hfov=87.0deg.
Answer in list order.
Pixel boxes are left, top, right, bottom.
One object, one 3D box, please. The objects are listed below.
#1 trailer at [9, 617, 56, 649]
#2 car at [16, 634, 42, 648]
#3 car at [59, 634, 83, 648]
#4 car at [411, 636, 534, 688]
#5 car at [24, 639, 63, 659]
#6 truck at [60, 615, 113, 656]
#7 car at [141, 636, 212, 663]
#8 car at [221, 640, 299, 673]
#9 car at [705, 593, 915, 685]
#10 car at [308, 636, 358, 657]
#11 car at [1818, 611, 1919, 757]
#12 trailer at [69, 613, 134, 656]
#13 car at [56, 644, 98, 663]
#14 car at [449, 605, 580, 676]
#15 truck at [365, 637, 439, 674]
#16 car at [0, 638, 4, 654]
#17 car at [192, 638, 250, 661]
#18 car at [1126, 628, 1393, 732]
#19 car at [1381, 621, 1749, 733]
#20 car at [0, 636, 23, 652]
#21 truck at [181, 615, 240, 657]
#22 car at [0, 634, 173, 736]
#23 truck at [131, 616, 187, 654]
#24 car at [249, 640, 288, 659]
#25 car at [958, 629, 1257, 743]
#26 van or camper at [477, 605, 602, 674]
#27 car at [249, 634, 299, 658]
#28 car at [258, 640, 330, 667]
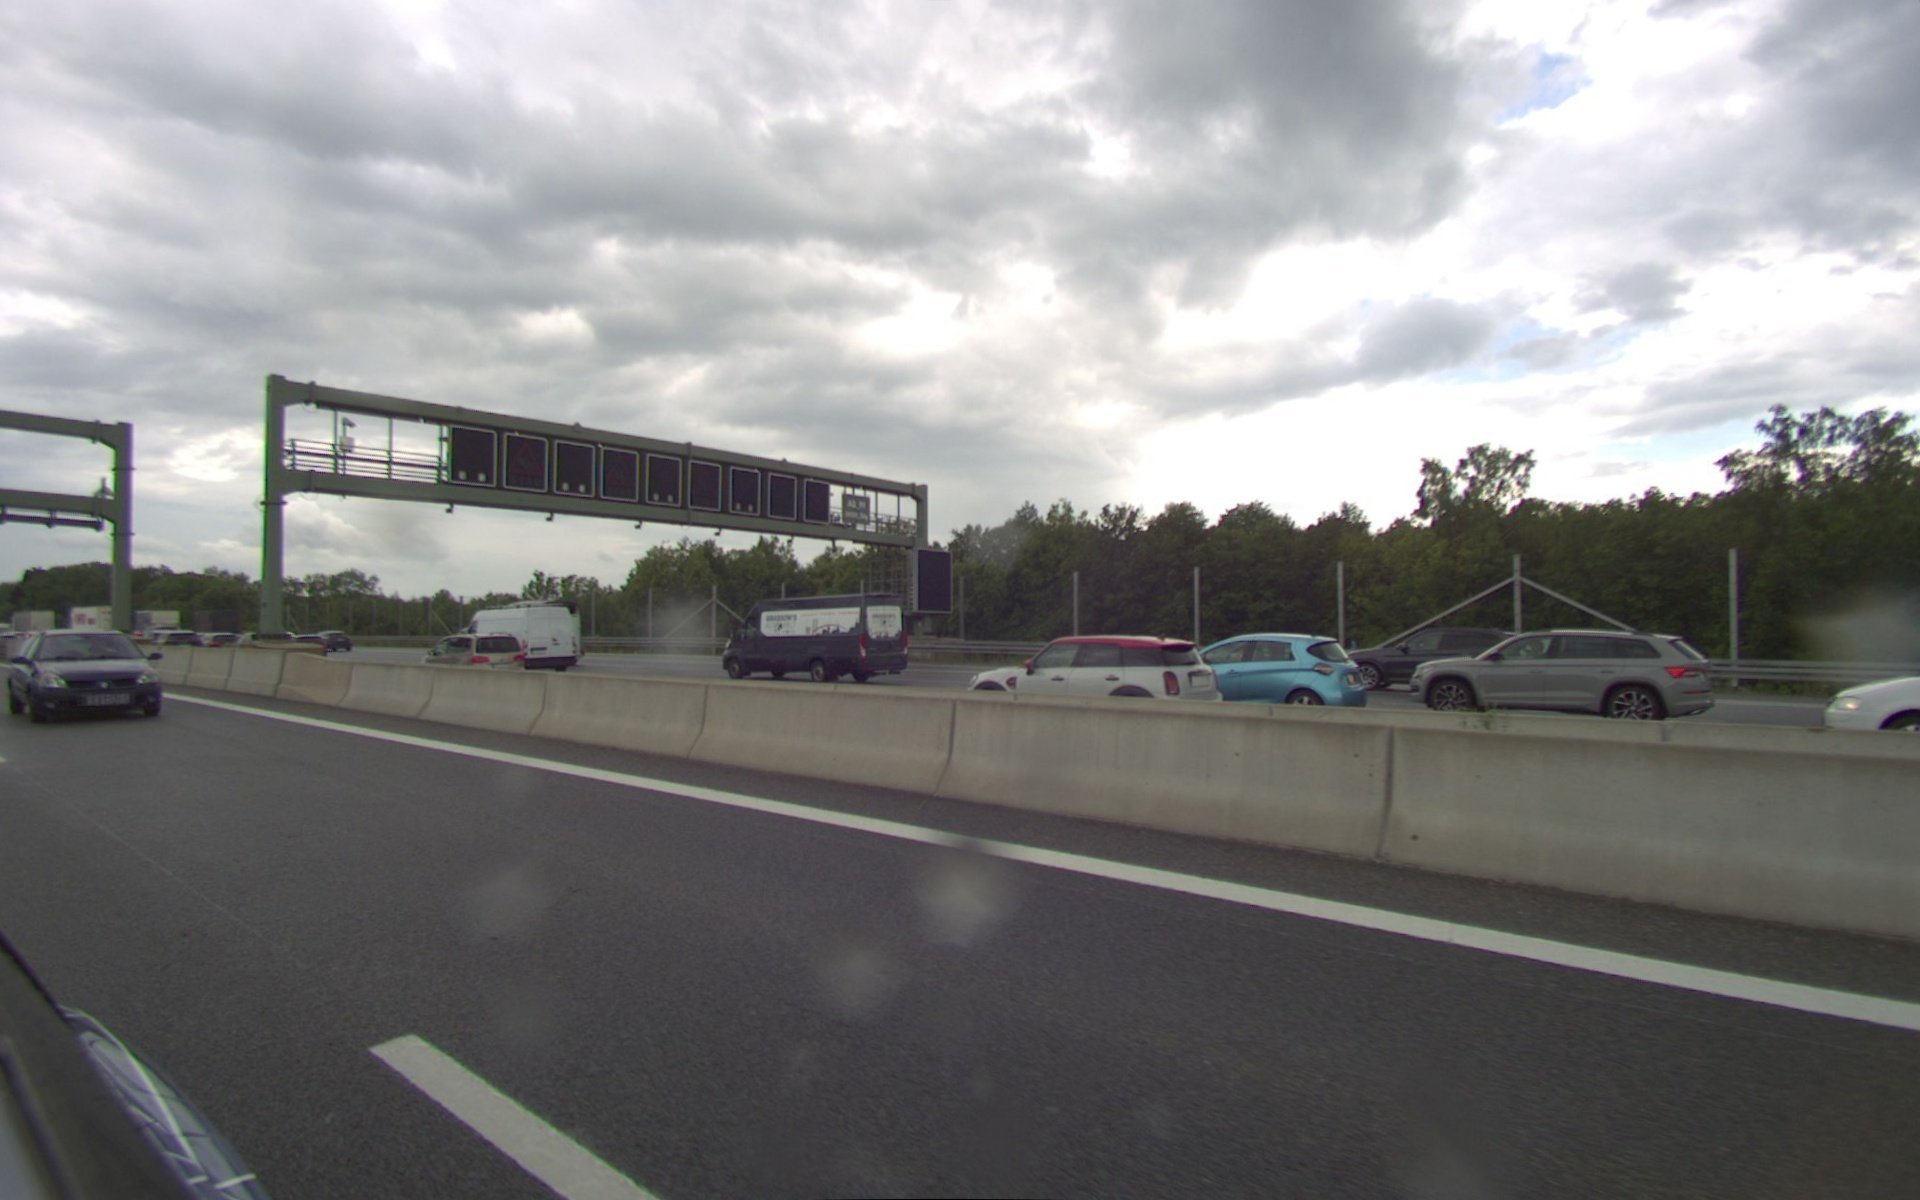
[{"bbox_3d":[-122.604,4.385,133.695,13.007,3.963,3.210,-2,-1,41],"label":"trailer"},{"bbox_3d":[-104.048,4.606,113.107,4.674,1.514,1.628,-2,-2,41],"label":"car"},{"bbox_3d":[-103.937,4.794,118.272,3.998,1.557,1.628,-3,-3,41],"label":"car"},{"bbox_3d":[-14.960,1.853,30.963,4.390,1.449,1.740,-2,-2,40],"label":"car"},{"bbox_3d":[-78.537,4.213,86.722,4.718,1.660,1.853,-3,-3,40],"label":"car"},{"bbox_3d":[-94.408,3.870,109.337,7.731,4.226,3.145,-3,-3,40],"label":"truck"},{"bbox_3d":[-42.913,2.707,55.403,5.252,1.368,2.058,-3,-3,40],"label":"car"},{"bbox_3d":[-31.729,2.548,45.830,4.500,1.402,1.686,-3,-3,39],"label":"car"},{"bbox_3d":[-4.856,1.250,31.682,7.352,2.566,2.248,-3,-3,40],"label":"car"},{"bbox_3d":[-44.771,3.311,72.240,4.338,1.437,1.744,-3,-3,40],"label":"car"},{"bbox_3d":[12.815,0.930,11.359,4.793,1.680,1.694,-2,-2,41],"label":"car"},{"bbox_3d":[-88.747,3.661,104.538,11.947,4.226,3.154,-3,-3,40],"label":"trailer"},{"bbox_3d":[-62.852,3.791,72.009,4.184,1.299,1.686,-3,-3,40],"label":"car"},{"bbox_3d":[-17.072,1.581,38.592,6.060,2.507,2.180,-3,-3,40],"label":"car"},{"bbox_3d":[-27.944,2.763,50.641,3.997,1.760,1.973,-2,-2,40],"label":"truck"},{"bbox_3d":[-127.408,6.079,133.168,5.671,2.068,1.802,-2,-3,41],"label":"car"},{"bbox_3d":[-45.772,3.072,62.647,4.560,1.350,1.870,-3,-3,40],"label":"car"},{"bbox_3d":[5.339,1.376,18.390,4.278,1.634,1.783,-2,-2,41],"label":"car"},{"bbox_3d":[10.432,1.264,17.798,5.314,1.680,1.694,-2,-2,41],"label":"car"},{"bbox_3d":[-89.054,4.086,94.622,4.727,1.451,1.628,-2,-2,41],"label":"car"},{"bbox_3d":[-66.338,3.263,89.524,7.801,3.564,2.438,-3,-3,40],"label":"truck"},{"bbox_3d":[-14.683,1.324,16.759,5.015,1.418,1.758,-3,-2,42],"label":"car"},{"bbox_3d":[-86.237,3.860,108.862,10.750,3.870,2.868,-3,-3,41],"label":"truck"},{"bbox_3d":[-55.396,3.991,81.072,4.000,1.437,1.567,-3,-3,40],"label":"car"},{"bbox_3d":[2.194,1.261,15.857,4.391,1.509,1.740,-2,-2,41],"label":"car"},{"bbox_3d":[-18.842,1.781,45.204,6.206,2.869,2.558,-3,-3,39],"label":"van or camper"},{"bbox_3d":[-44.886,3.024,66.189,4.413,1.458,1.604,-3,-3,40],"label":"car"},{"bbox_3d":[-34.954,2.807,53.069,5.125,1.368,1.780,-3,-3,40],"label":"car"}]
